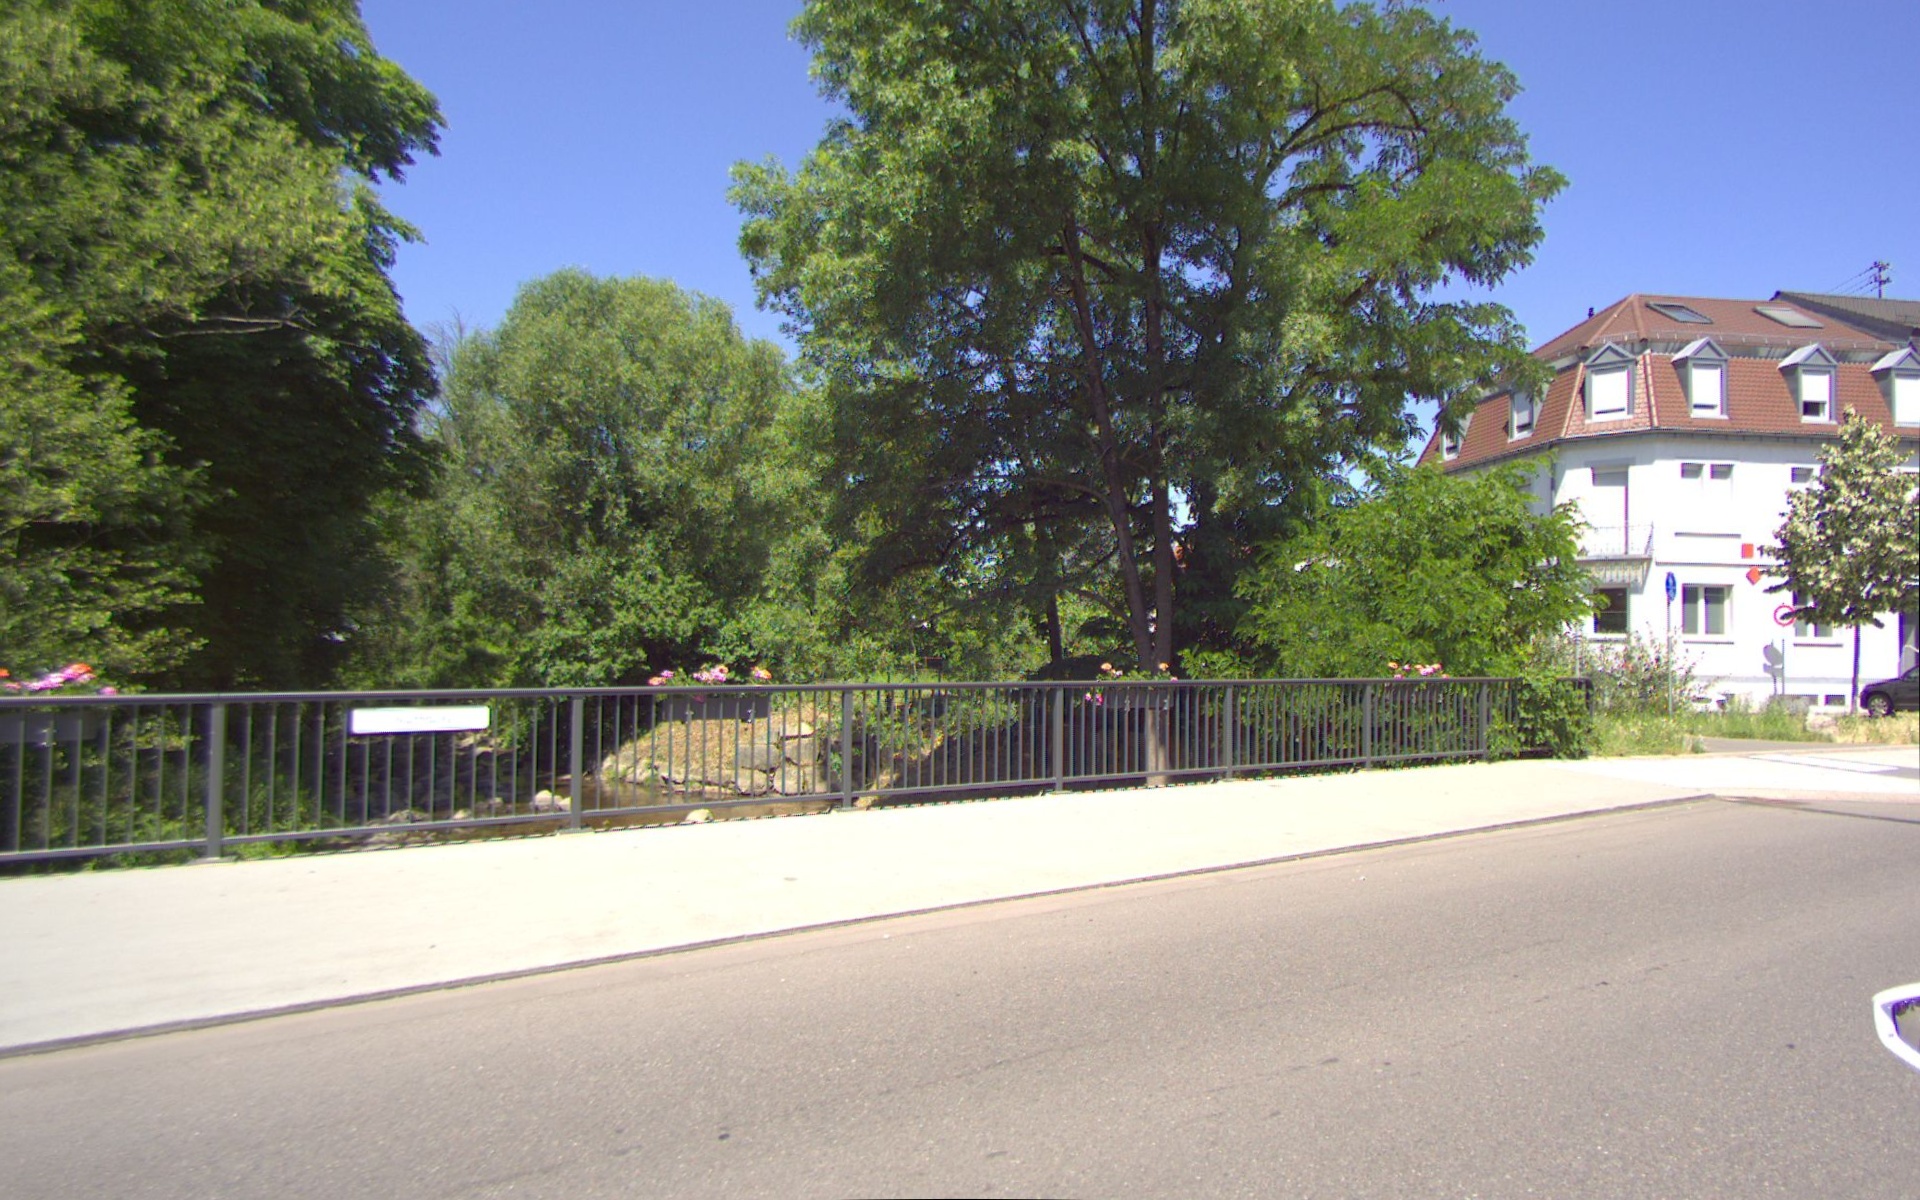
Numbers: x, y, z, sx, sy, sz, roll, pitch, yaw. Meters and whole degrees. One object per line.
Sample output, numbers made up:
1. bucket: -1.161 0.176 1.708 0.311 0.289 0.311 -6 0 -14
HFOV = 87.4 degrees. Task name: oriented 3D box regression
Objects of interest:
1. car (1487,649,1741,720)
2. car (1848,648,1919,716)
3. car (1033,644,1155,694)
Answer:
1. car: 15.248 1.919 23.622 1.984 1.374 4.655 3 -3 -39
2. car: 25.148 2.092 25.123 1.934 1.684 4.190 2 -2 -8
3. car: 4.644 2.370 35.180 1.984 1.563 3.954 2 -2 -40
